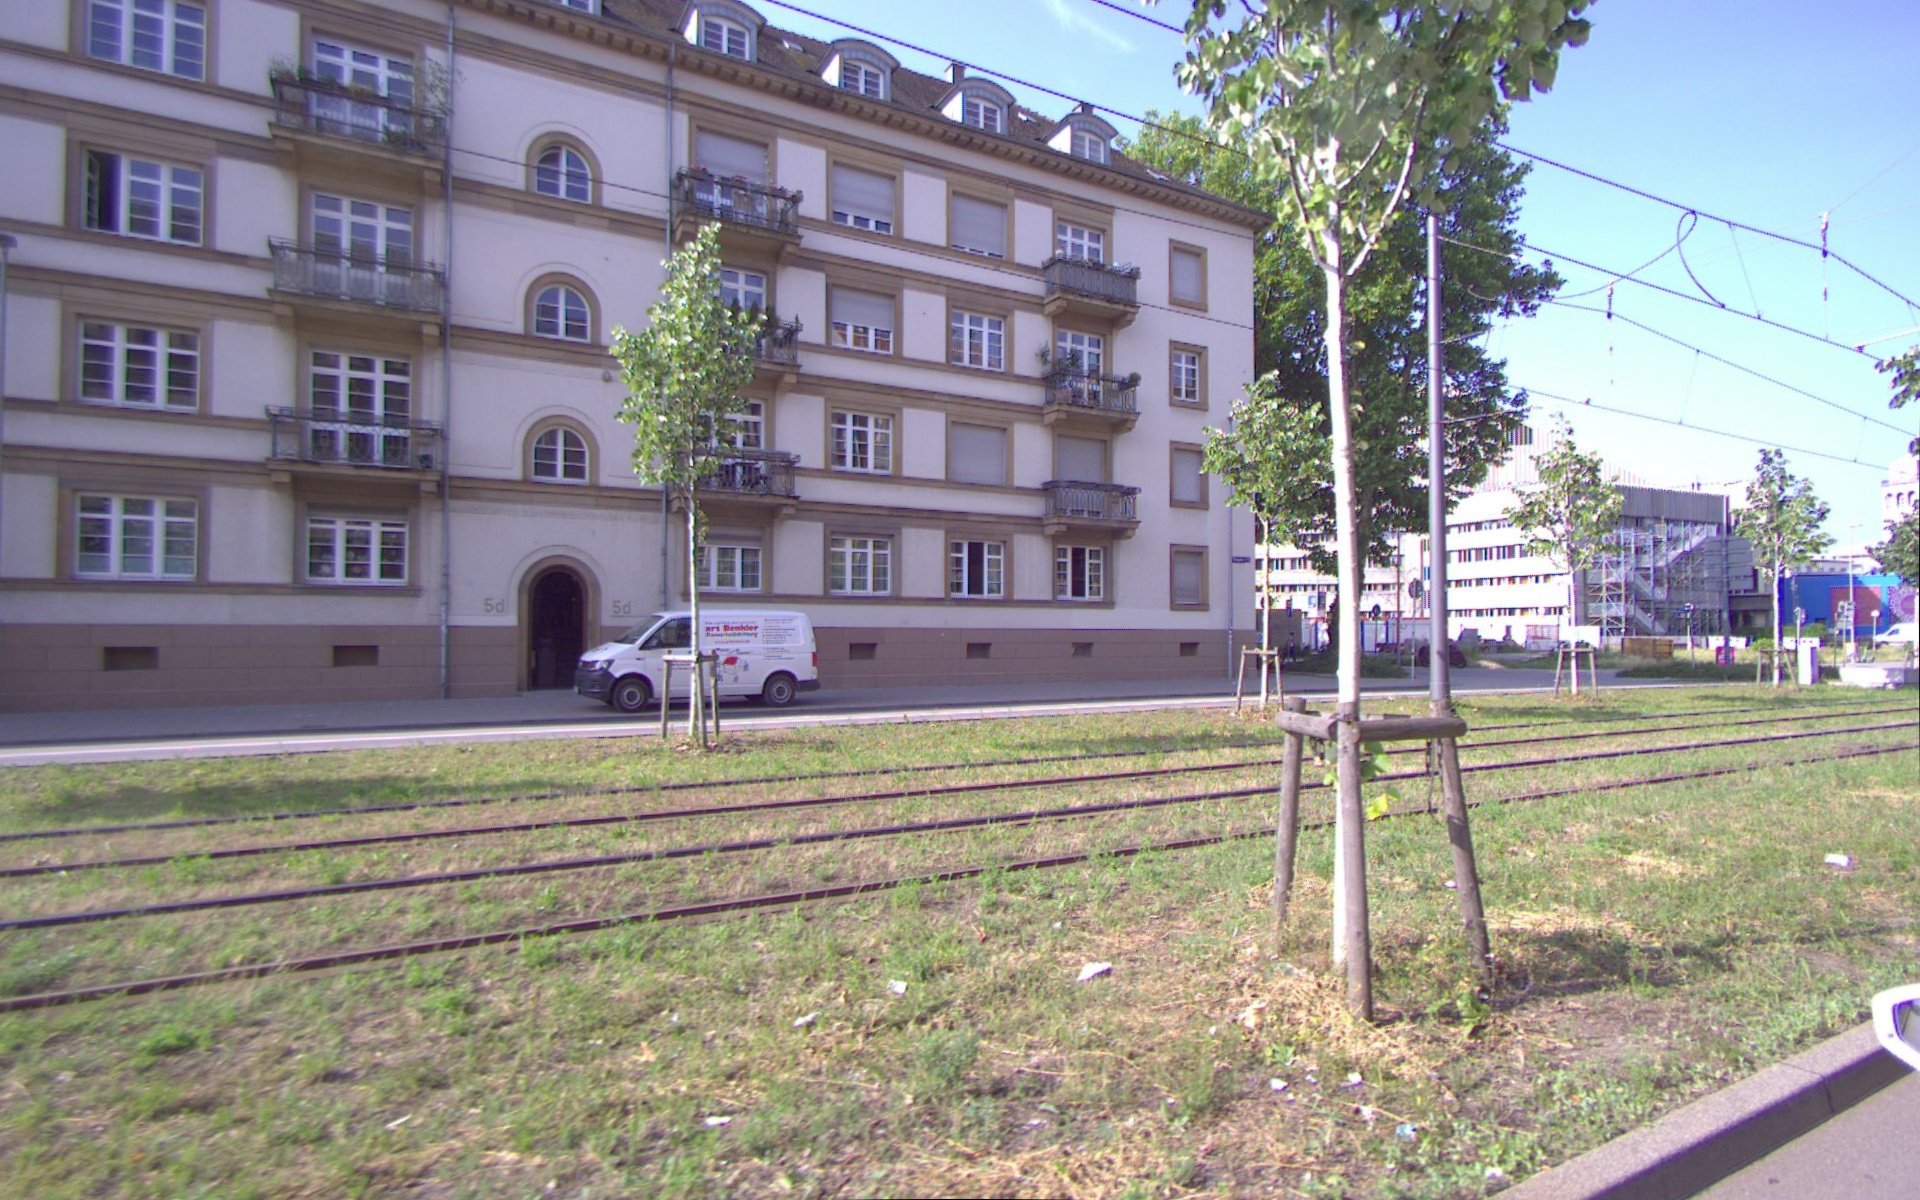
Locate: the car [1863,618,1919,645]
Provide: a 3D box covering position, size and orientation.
[{"bbox_3d":[99.532,3.288,105.493,6.793,2.674,2.502,1,0,40],"label":"car"}]

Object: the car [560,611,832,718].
[{"bbox_3d":[-5.364,1.227,20.614,5.090,1.943,1.985,1,0,-30],"label":"car"}]

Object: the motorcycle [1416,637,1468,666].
[{"bbox_3d":[23.680,2.532,49.349,2.253,1.387,0.818,-1,-2,24],"label":"motorcycle"}]

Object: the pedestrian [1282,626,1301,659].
[{"bbox_3d":[17.072,2.197,51.736,0.725,1.699,0.675,-1,-2,35],"label":"pedestrian"}]
